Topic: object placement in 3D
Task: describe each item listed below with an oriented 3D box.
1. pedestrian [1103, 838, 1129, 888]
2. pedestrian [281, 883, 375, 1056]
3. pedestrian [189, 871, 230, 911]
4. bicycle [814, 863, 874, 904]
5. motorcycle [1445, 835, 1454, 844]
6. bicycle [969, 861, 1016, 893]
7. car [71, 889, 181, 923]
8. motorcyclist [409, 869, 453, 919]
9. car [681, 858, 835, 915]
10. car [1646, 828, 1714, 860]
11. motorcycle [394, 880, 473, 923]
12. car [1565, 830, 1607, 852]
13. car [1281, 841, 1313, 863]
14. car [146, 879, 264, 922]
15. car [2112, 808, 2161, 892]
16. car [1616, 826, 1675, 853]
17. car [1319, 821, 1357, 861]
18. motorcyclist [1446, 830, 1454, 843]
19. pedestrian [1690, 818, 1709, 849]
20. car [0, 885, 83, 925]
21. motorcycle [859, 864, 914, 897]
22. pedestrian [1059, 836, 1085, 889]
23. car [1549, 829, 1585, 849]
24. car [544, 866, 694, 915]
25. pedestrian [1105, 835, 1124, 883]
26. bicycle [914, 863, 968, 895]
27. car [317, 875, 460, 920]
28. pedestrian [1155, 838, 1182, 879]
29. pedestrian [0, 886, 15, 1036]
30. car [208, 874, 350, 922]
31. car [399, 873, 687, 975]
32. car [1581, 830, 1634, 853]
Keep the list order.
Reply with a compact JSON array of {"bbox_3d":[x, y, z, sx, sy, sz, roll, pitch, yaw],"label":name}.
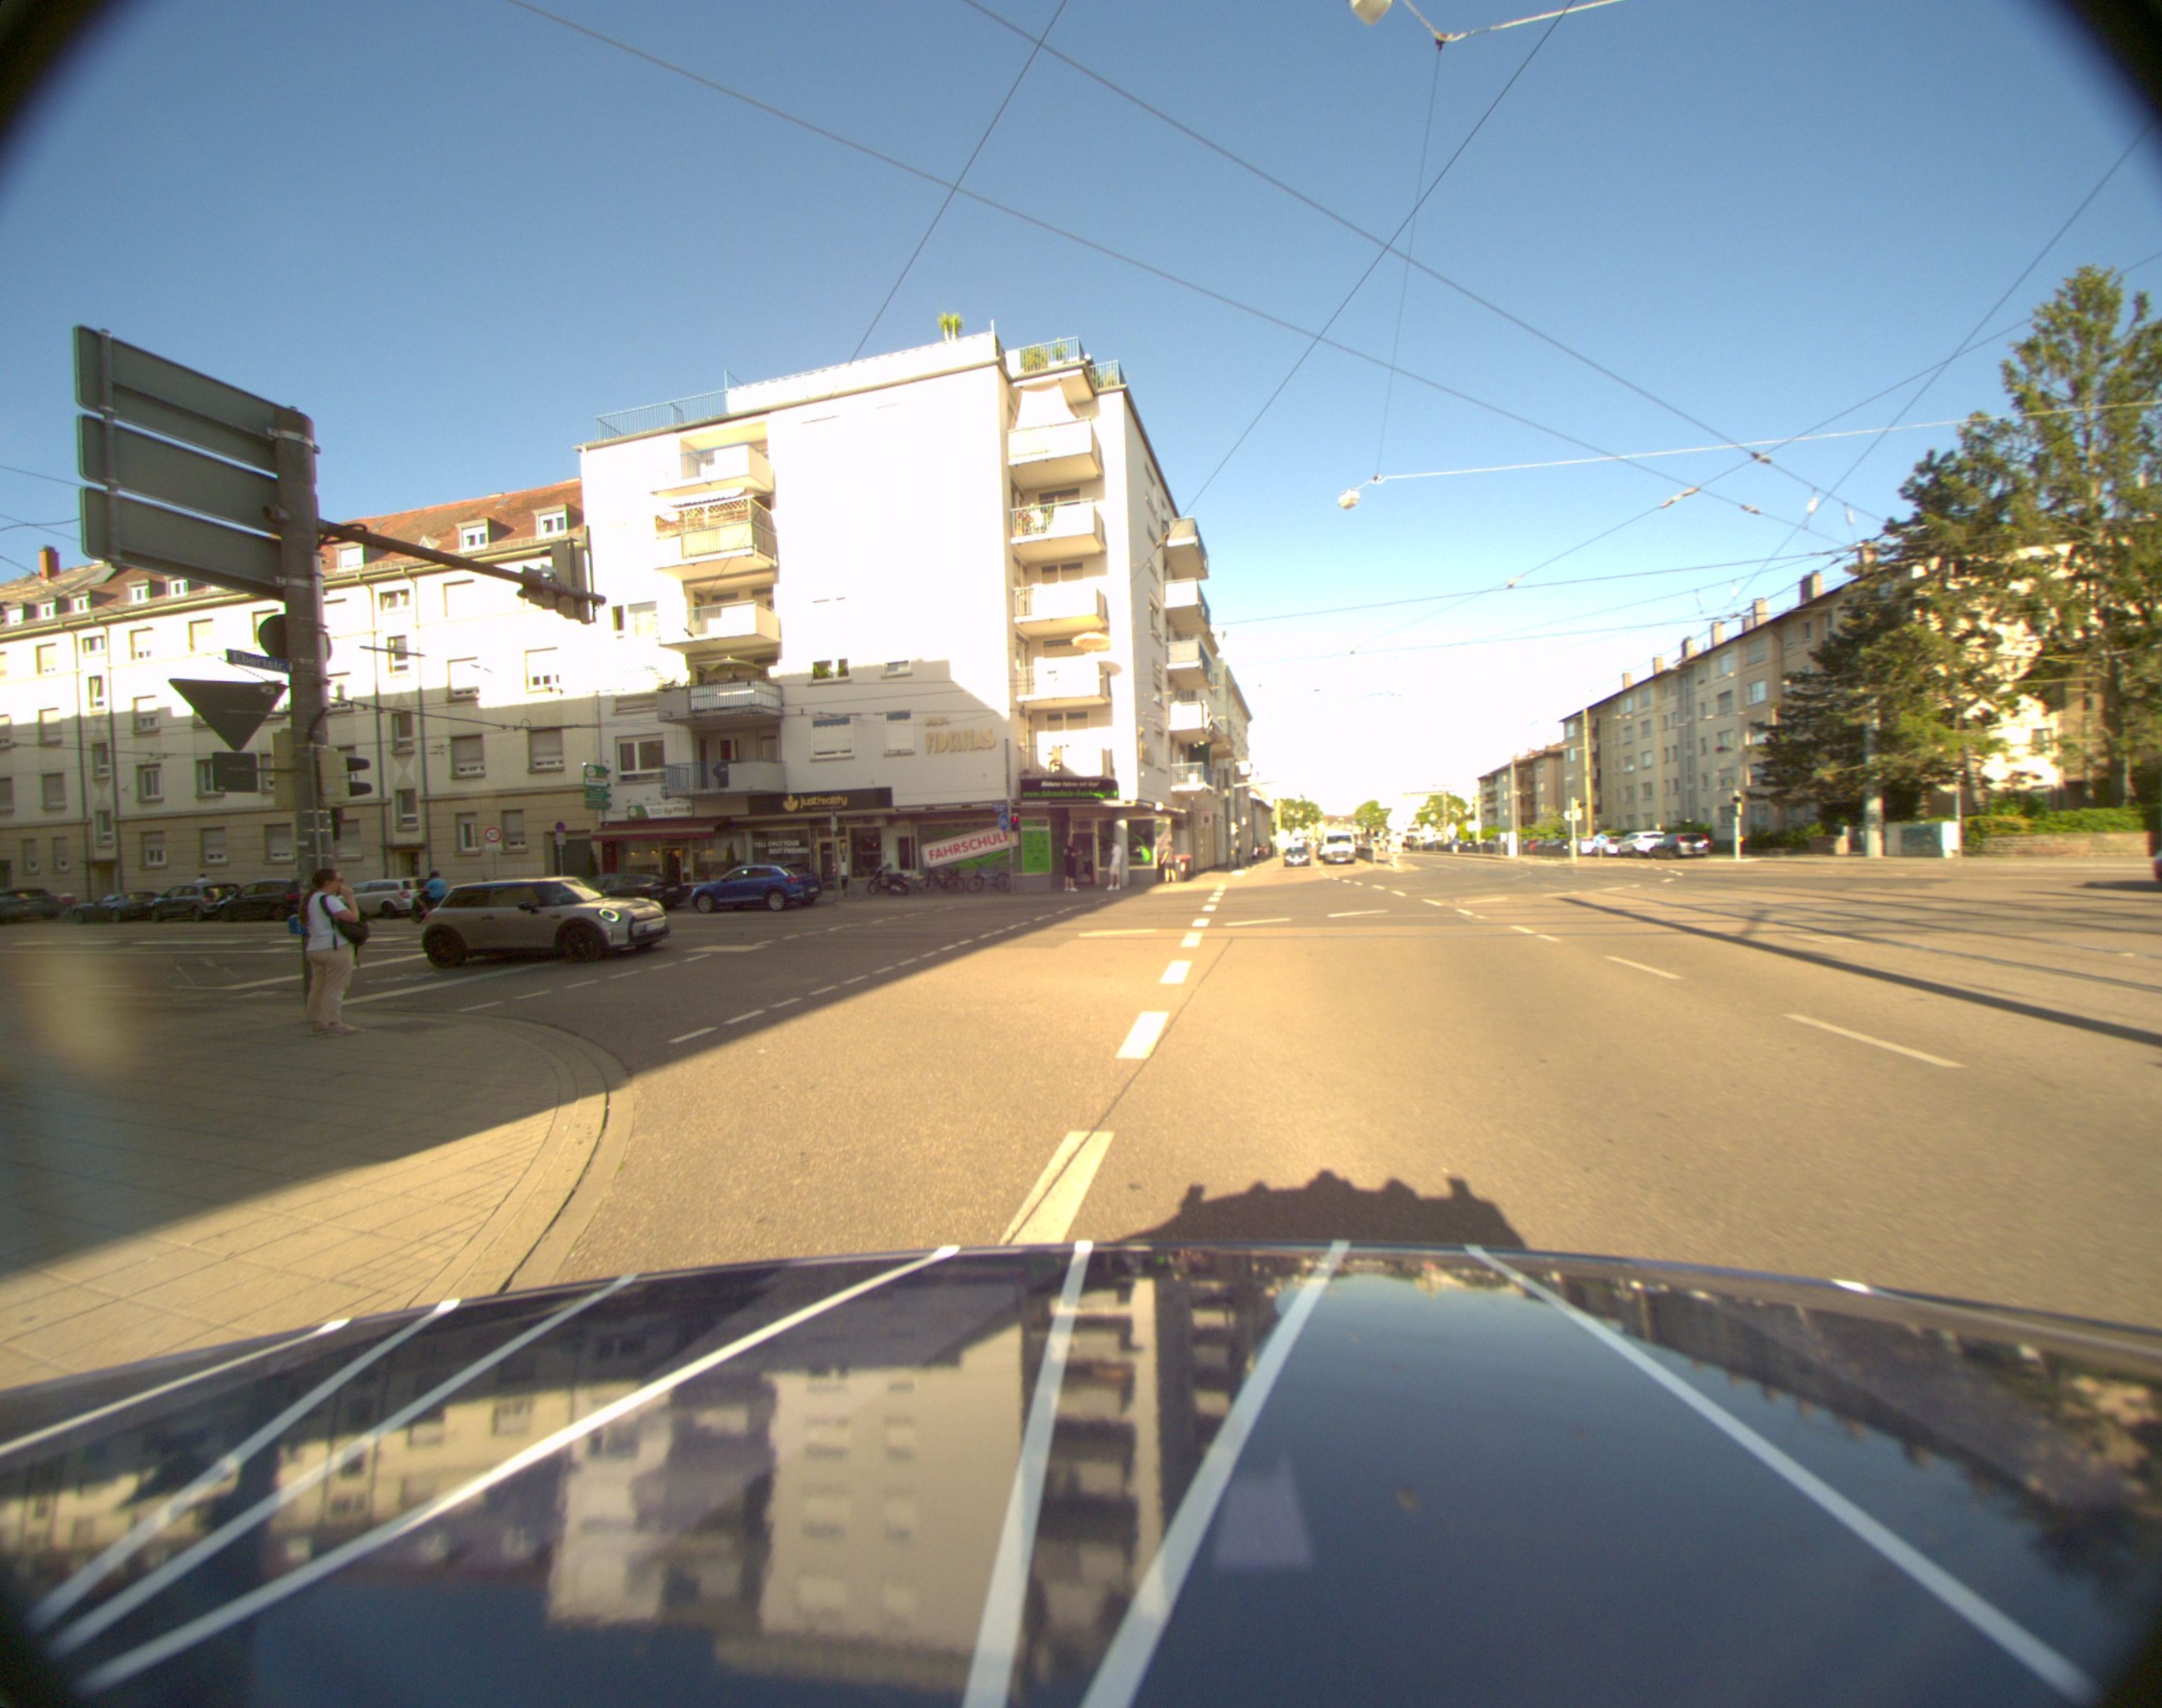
[{"bbox_3d":[1.292,0.326,27.948,0.660,1.782,0.738,-2,2,21],"label":"pedestrian"},{"bbox_3d":[-7.519,1.105,7.583,0.731,1.613,0.542,0,-2,39],"label":"pedestrian"},{"bbox_3d":[-39.989,1.684,34.884,1.004,1.758,0.664,-2,3,7],"label":"pedestrian"},{"bbox_3d":[-7.905,0.980,25.386,1.793,1.307,0.609,-2,3,14],"label":"bicycle"},{"bbox_3d":[45.448,-1.821,93.646,0.856,1.041,1.944,-1,3,21],"label":"motorcycle"},{"bbox_3d":[-3.197,0.830,27.367,1.536,1.100,0.553,-1,3,16],"label":"bicycle"},{"bbox_3d":[-40.815,2.211,32.489,3.518,1.213,1.477,-2,4,13],"label":"car"},{"bbox_3d":[-20.200,1.232,23.624,0.683,1.488,0.696,-3,1,10],"label":"motorcyclist"},{"bbox_3d":[-10.430,1.053,24.637,4.231,1.495,1.775,-3,3,12],"label":"car"},{"bbox_3d":[35.070,-0.605,44.642,1.867,1.619,4.076,-1,3,19],"label":"car"},{"bbox_3d":[-20.134,1.468,23.625,1.963,1.213,0.714,-3,1,10],"label":"motorcycle"},{"bbox_3d":[39.988,-1.045,60.255,1.658,1.549,3.791,-1,3,16],"label":"car"},{"bbox_3d":[15.189,-0.161,53.316,1.880,1.405,3.934,-1,0,19],"label":"car"},{"bbox_3d":[-36.309,1.930,31.515,3.589,1.550,1.645,-2,4,14],"label":"car"},{"bbox_3d":[20.825,-0.126,12.901,3.823,1.477,1.785,-2,1,7],"label":"car"},{"bbox_3d":[36.833,-0.975,49.698,1.770,1.589,4.036,-1,3,16],"label":"car"},{"bbox_3d":[17.915,-0.949,52.947,2.337,2.504,4.859,-1,3,19],"label":"car"},{"bbox_3d":[45.438,-2.182,93.627,0.856,1.480,0.730,-1,3,21],"label":"motorcyclist"},{"bbox_3d":[38.583,-1.269,47.415,0.698,1.876,0.781,-1,3,19],"label":"pedestrian"},{"bbox_3d":[-48.531,2.333,34.787,4.152,1.601,1.753,-2,4,13],"label":"car"},{"bbox_3d":[-7.105,0.955,27.793,1.793,1.128,0.609,-2,3,14],"label":"motorcycle"},{"bbox_3d":[-0.308,0.304,27.445,0.737,1.890,0.576,1,3,32],"label":"pedestrian"},{"bbox_3d":[41.216,-1.268,64.484,1.557,1.518,3.648,-1,3,16],"label":"car"},{"bbox_3d":[-15.937,1.256,26.270,4.437,1.467,1.776,-2,3,15],"label":"car"},{"bbox_3d":[1.335,0.196,30.264,0.597,1.846,0.519,-2,3,11],"label":"pedestrian"},{"bbox_3d":[-5.080,0.915,27.606,1.793,1.082,0.609,-2,3,14],"label":"bicycle"},{"bbox_3d":[-26.322,1.635,28.912,4.363,1.447,1.731,-2,4,13],"label":"car"},{"bbox_3d":[3.573,0.184,31.005,0.702,1.642,0.757,2,0,-43],"label":"pedestrian"},{"bbox_3d":[-11.911,1.142,7.772,0.810,1.582,0.888,-3,-1,10],"label":"pedestrian"},{"bbox_3d":[-31.826,1.729,30.190,4.317,1.625,1.821,-2,4,13],"label":"car"},{"bbox_3d":[-9.300,1.185,13.329,3.812,1.417,1.729,-3,3,5],"label":"car"},{"bbox_3d":[38.144,-0.944,55.146,1.831,1.470,4.035,-2,3,14],"label":"car"}]
